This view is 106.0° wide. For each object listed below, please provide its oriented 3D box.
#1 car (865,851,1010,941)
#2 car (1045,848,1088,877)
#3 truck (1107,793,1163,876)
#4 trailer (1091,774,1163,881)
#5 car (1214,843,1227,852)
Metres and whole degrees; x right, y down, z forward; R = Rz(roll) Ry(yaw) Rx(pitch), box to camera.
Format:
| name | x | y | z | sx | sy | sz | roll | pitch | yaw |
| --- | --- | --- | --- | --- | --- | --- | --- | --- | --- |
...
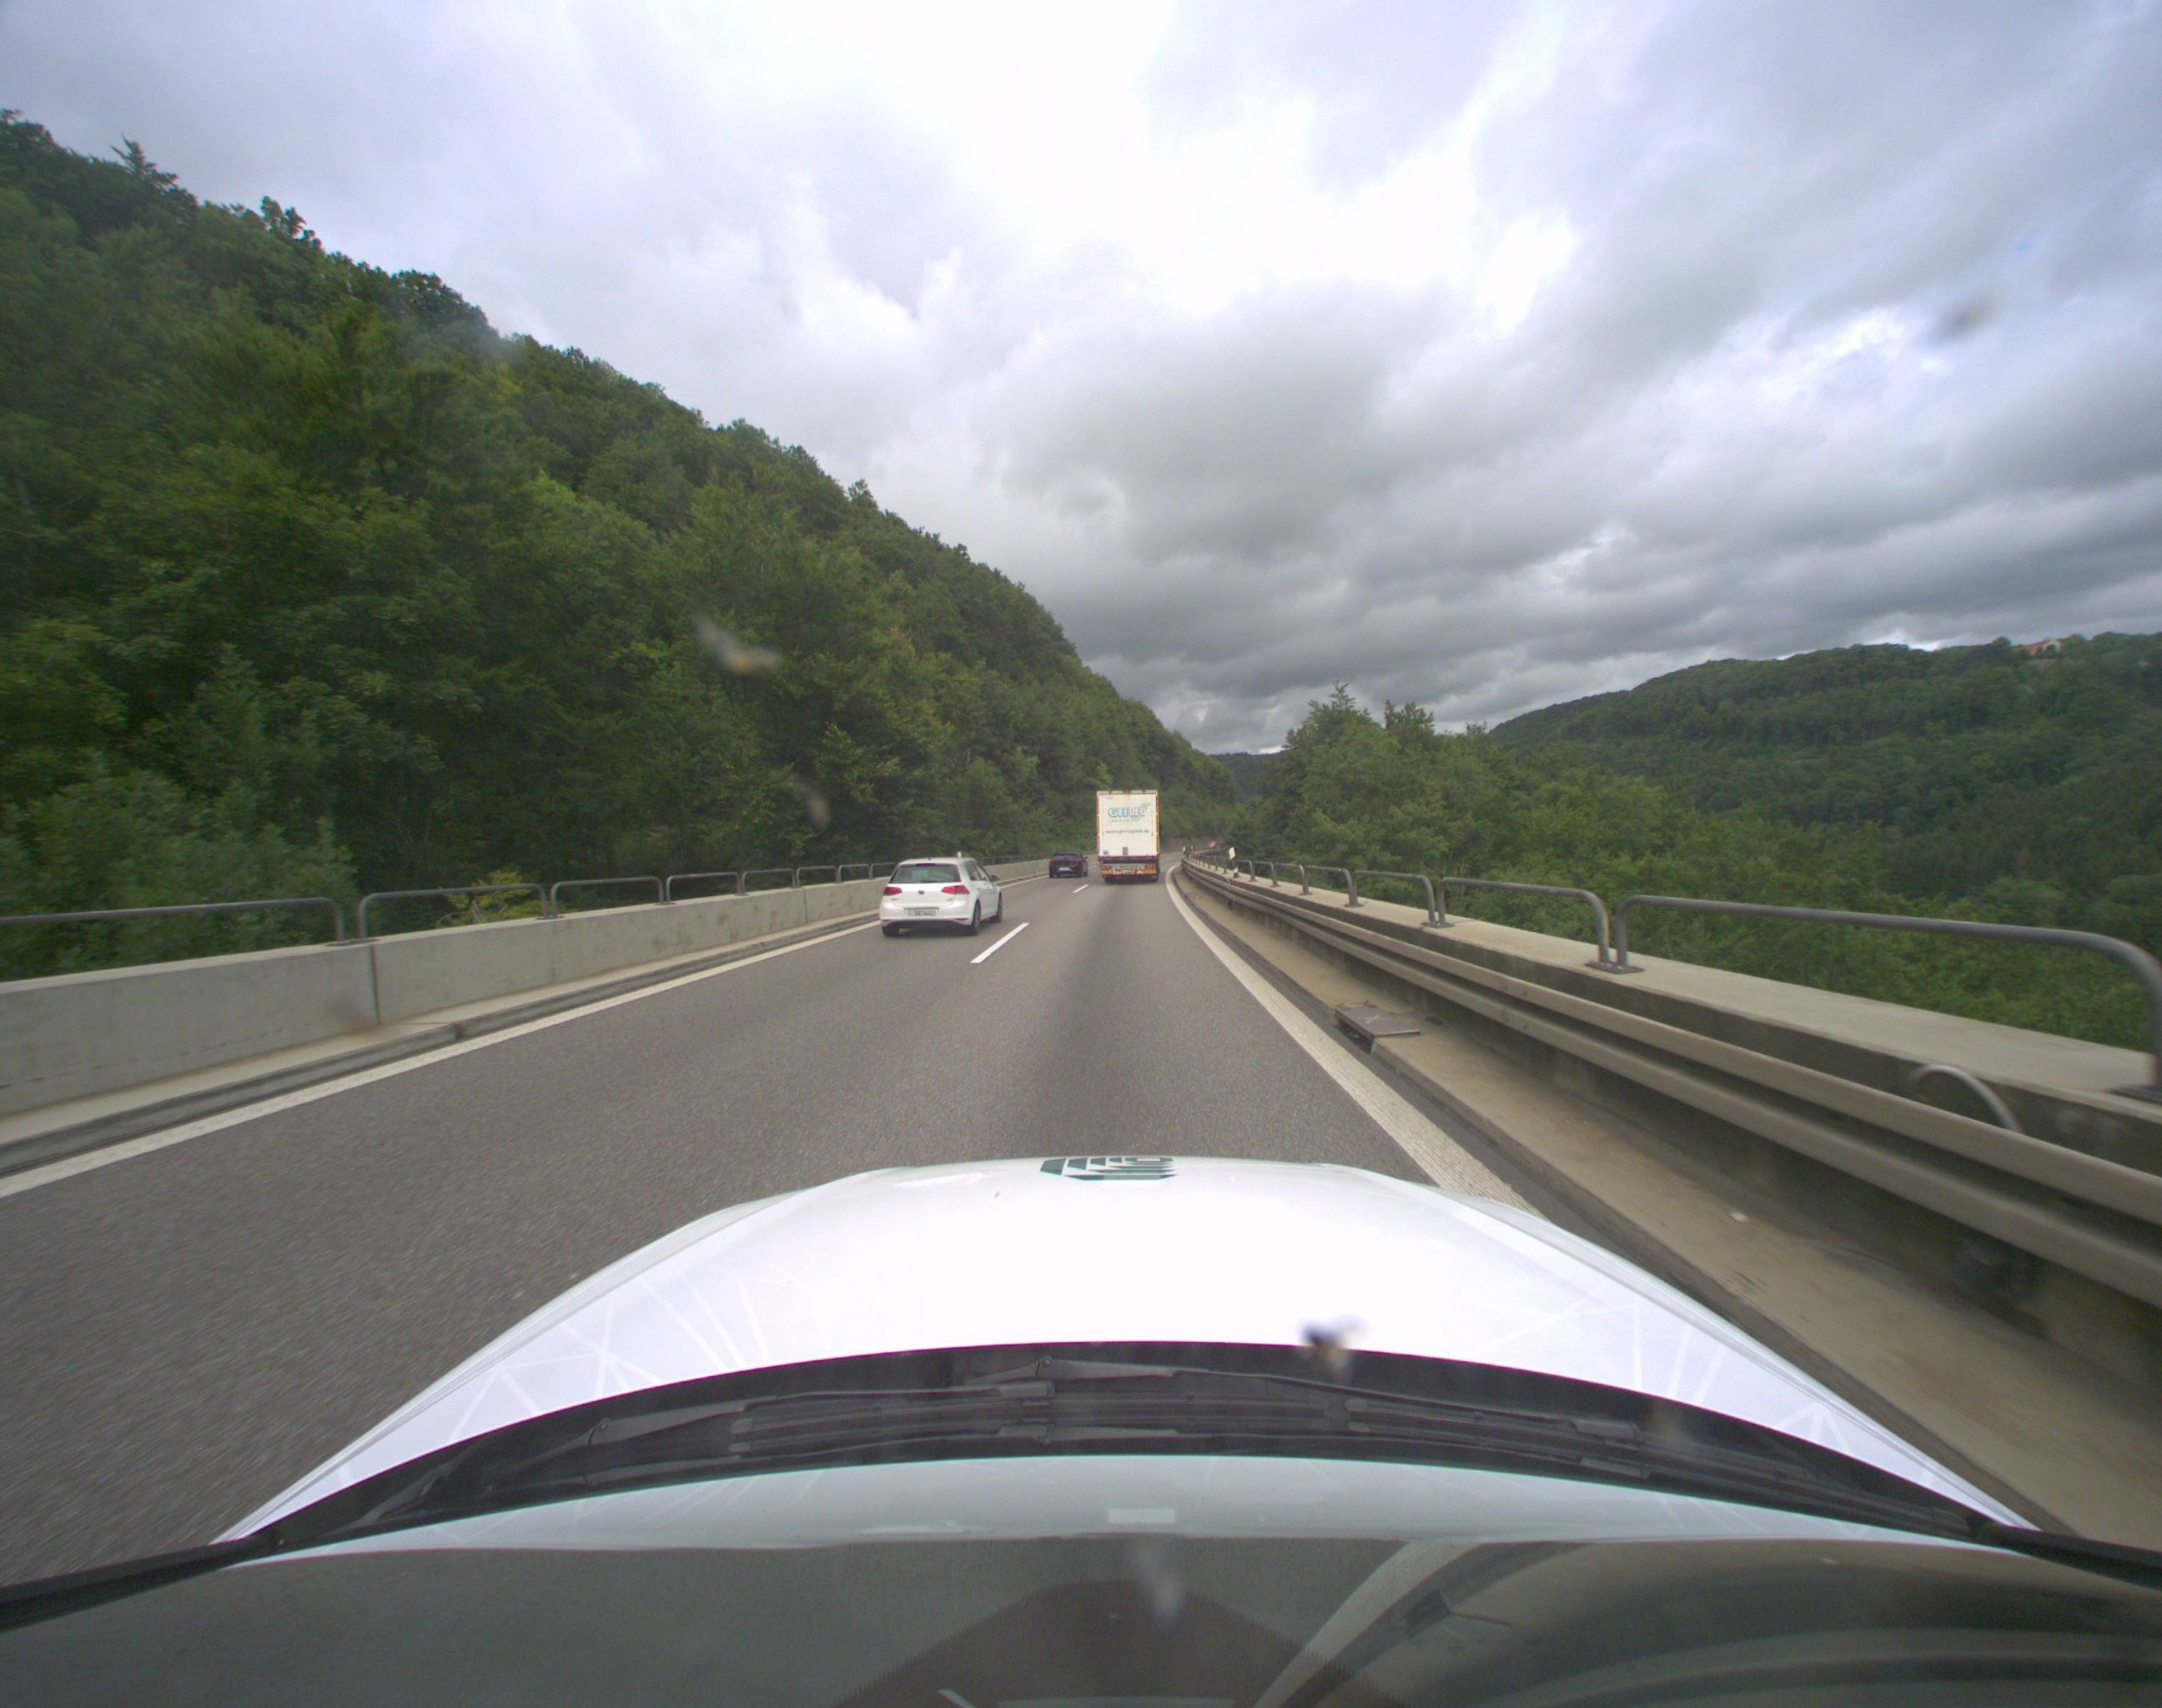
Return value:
| name | x | y | z | sx | sy | sz | roll | pitch | yaw |
| --- | --- | --- | --- | --- | --- | --- | --- | --- | --- |
| car | -2.684 | 0.718 | 16.397 | 1.837 | 1.481 | 4.631 | -2 | 1 | 3 |
| car | -0.726 | 0.451 | 44.808 | 1.764 | 1.461 | 4.589 | -2 | 0 | 6 |
| truck | 3.171 | -1.020 | 46.288 | 2.799 | 4.302 | 6.268 | -2 | -1 | 6 |
| trailer | 2.498 | -1.046 | 39.821 | 2.799 | 4.302 | 12.264 | -2 | -1 | 6 |
| car | 25.013 | -1.183 | 145.994 | 1.979 | 1.565 | 4.015 | -2 | -1 | 15 |
